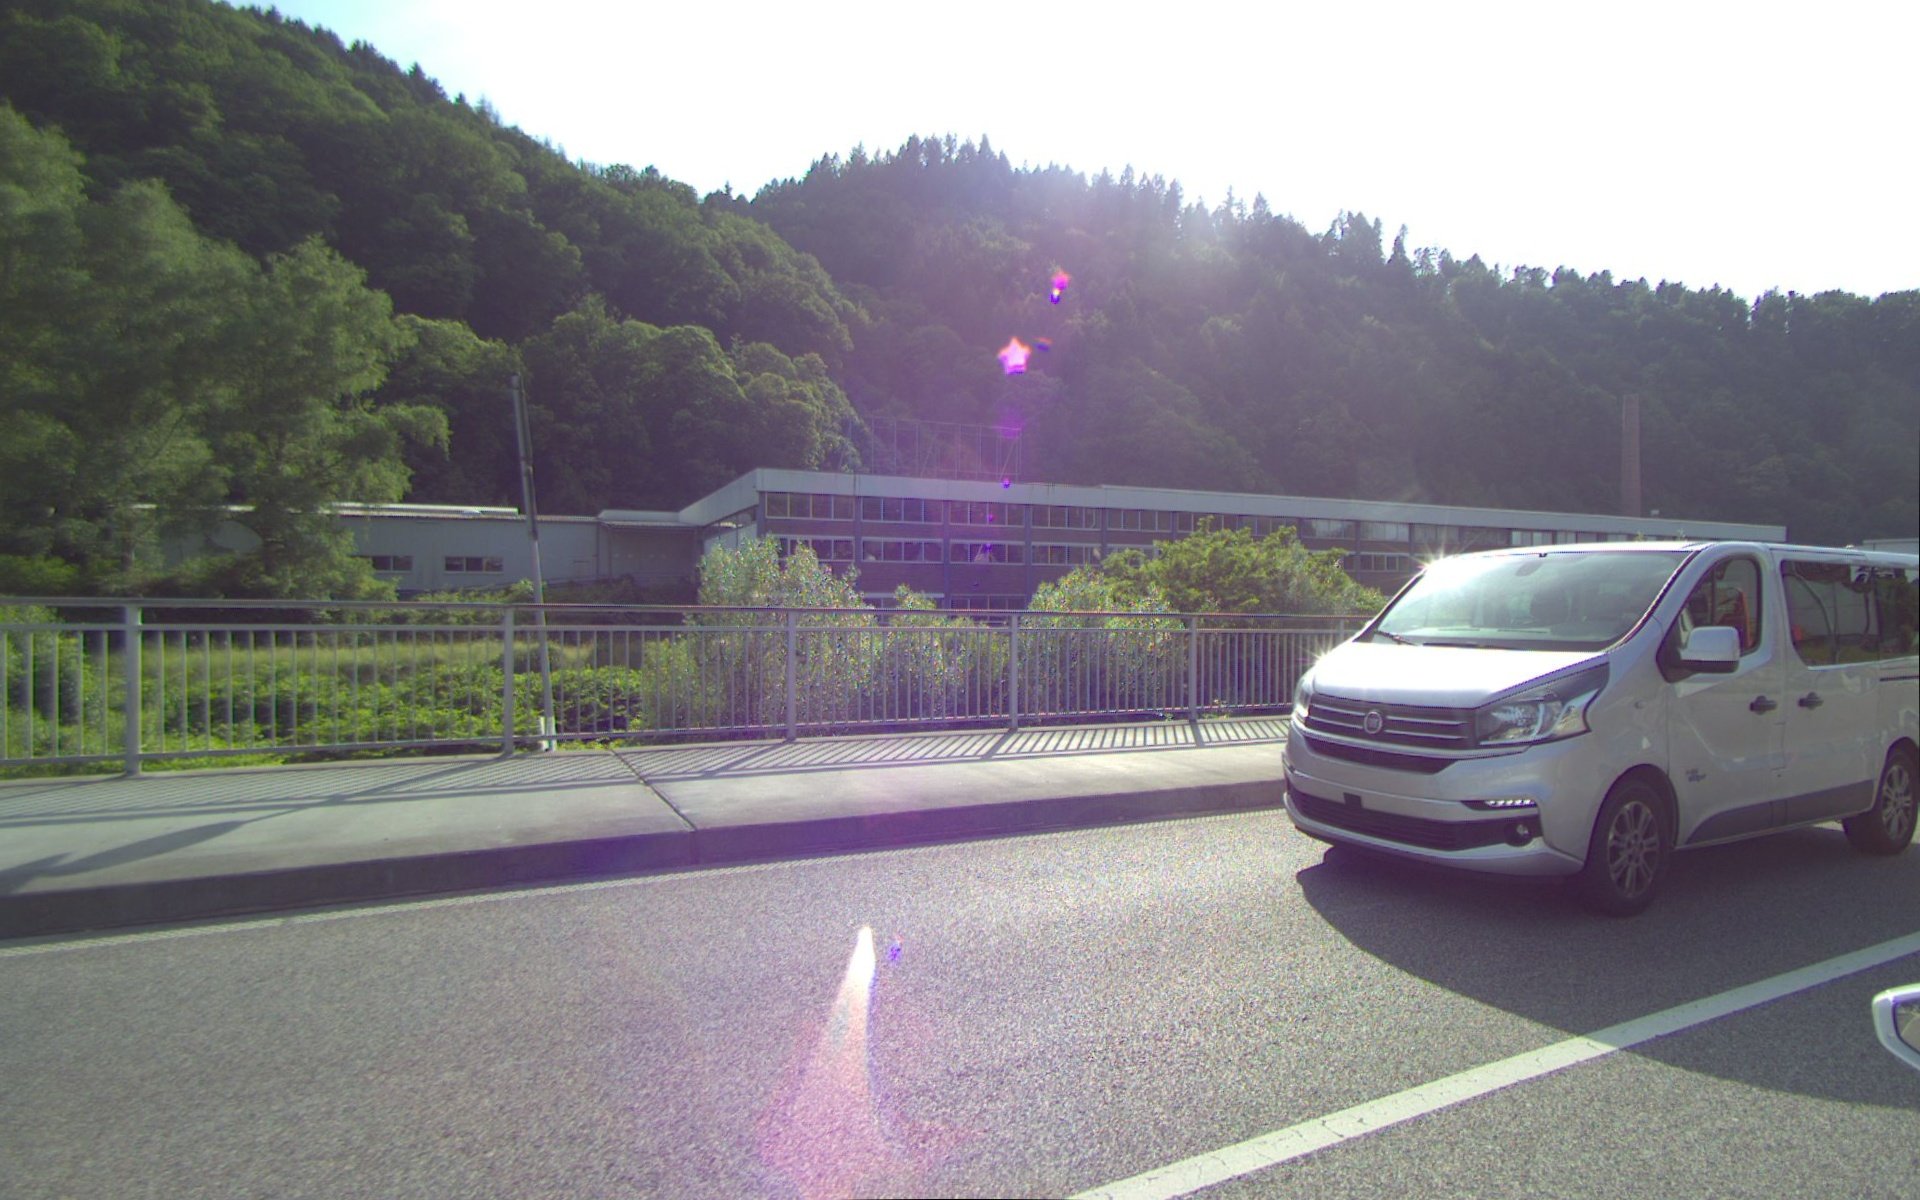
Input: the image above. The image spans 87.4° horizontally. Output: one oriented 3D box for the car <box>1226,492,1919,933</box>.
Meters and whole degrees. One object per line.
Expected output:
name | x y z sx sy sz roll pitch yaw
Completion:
car | 4.355 0.598 6.552 5.079 1.993 1.914 2 -2 -26
